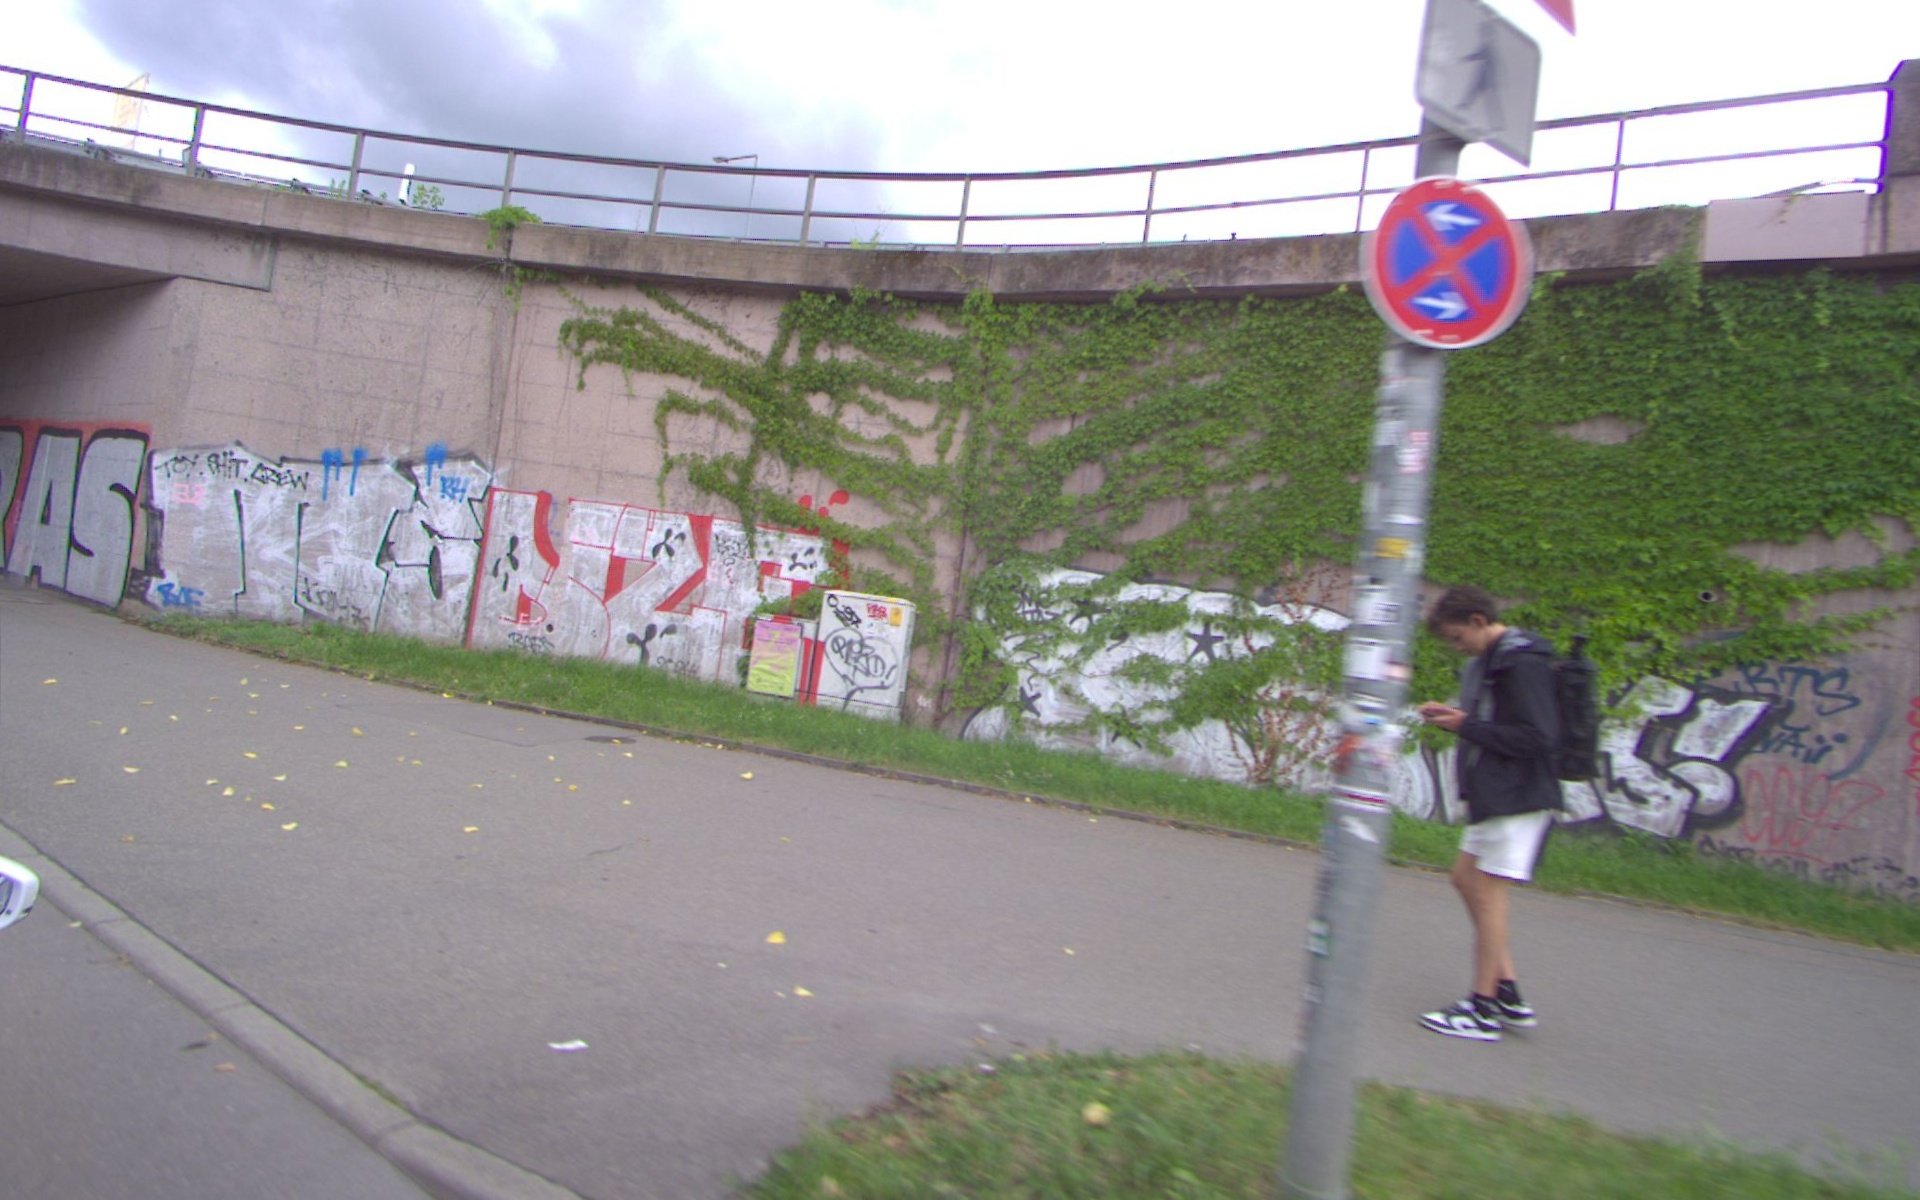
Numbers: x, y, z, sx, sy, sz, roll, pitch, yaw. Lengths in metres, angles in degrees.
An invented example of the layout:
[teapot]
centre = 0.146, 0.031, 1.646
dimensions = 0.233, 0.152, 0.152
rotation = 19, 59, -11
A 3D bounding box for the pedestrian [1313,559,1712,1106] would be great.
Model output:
[pedestrian]
centre = 2.278, 0.862, 4.285
dimensions = 1.160, 1.903, 0.821
rotation = 7, 1, 27

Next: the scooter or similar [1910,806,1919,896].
[scooter or similar]
centre = 10.852, 2.658, 10.403
dimensions = 0.325, 1.170, 1.382
rotation = 8, -2, -26

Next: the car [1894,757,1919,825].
[car]
centre = 24.068, 4.735, 23.625
dimensions = 1.642, 1.596, 4.003
rotation = 7, -2, 22
